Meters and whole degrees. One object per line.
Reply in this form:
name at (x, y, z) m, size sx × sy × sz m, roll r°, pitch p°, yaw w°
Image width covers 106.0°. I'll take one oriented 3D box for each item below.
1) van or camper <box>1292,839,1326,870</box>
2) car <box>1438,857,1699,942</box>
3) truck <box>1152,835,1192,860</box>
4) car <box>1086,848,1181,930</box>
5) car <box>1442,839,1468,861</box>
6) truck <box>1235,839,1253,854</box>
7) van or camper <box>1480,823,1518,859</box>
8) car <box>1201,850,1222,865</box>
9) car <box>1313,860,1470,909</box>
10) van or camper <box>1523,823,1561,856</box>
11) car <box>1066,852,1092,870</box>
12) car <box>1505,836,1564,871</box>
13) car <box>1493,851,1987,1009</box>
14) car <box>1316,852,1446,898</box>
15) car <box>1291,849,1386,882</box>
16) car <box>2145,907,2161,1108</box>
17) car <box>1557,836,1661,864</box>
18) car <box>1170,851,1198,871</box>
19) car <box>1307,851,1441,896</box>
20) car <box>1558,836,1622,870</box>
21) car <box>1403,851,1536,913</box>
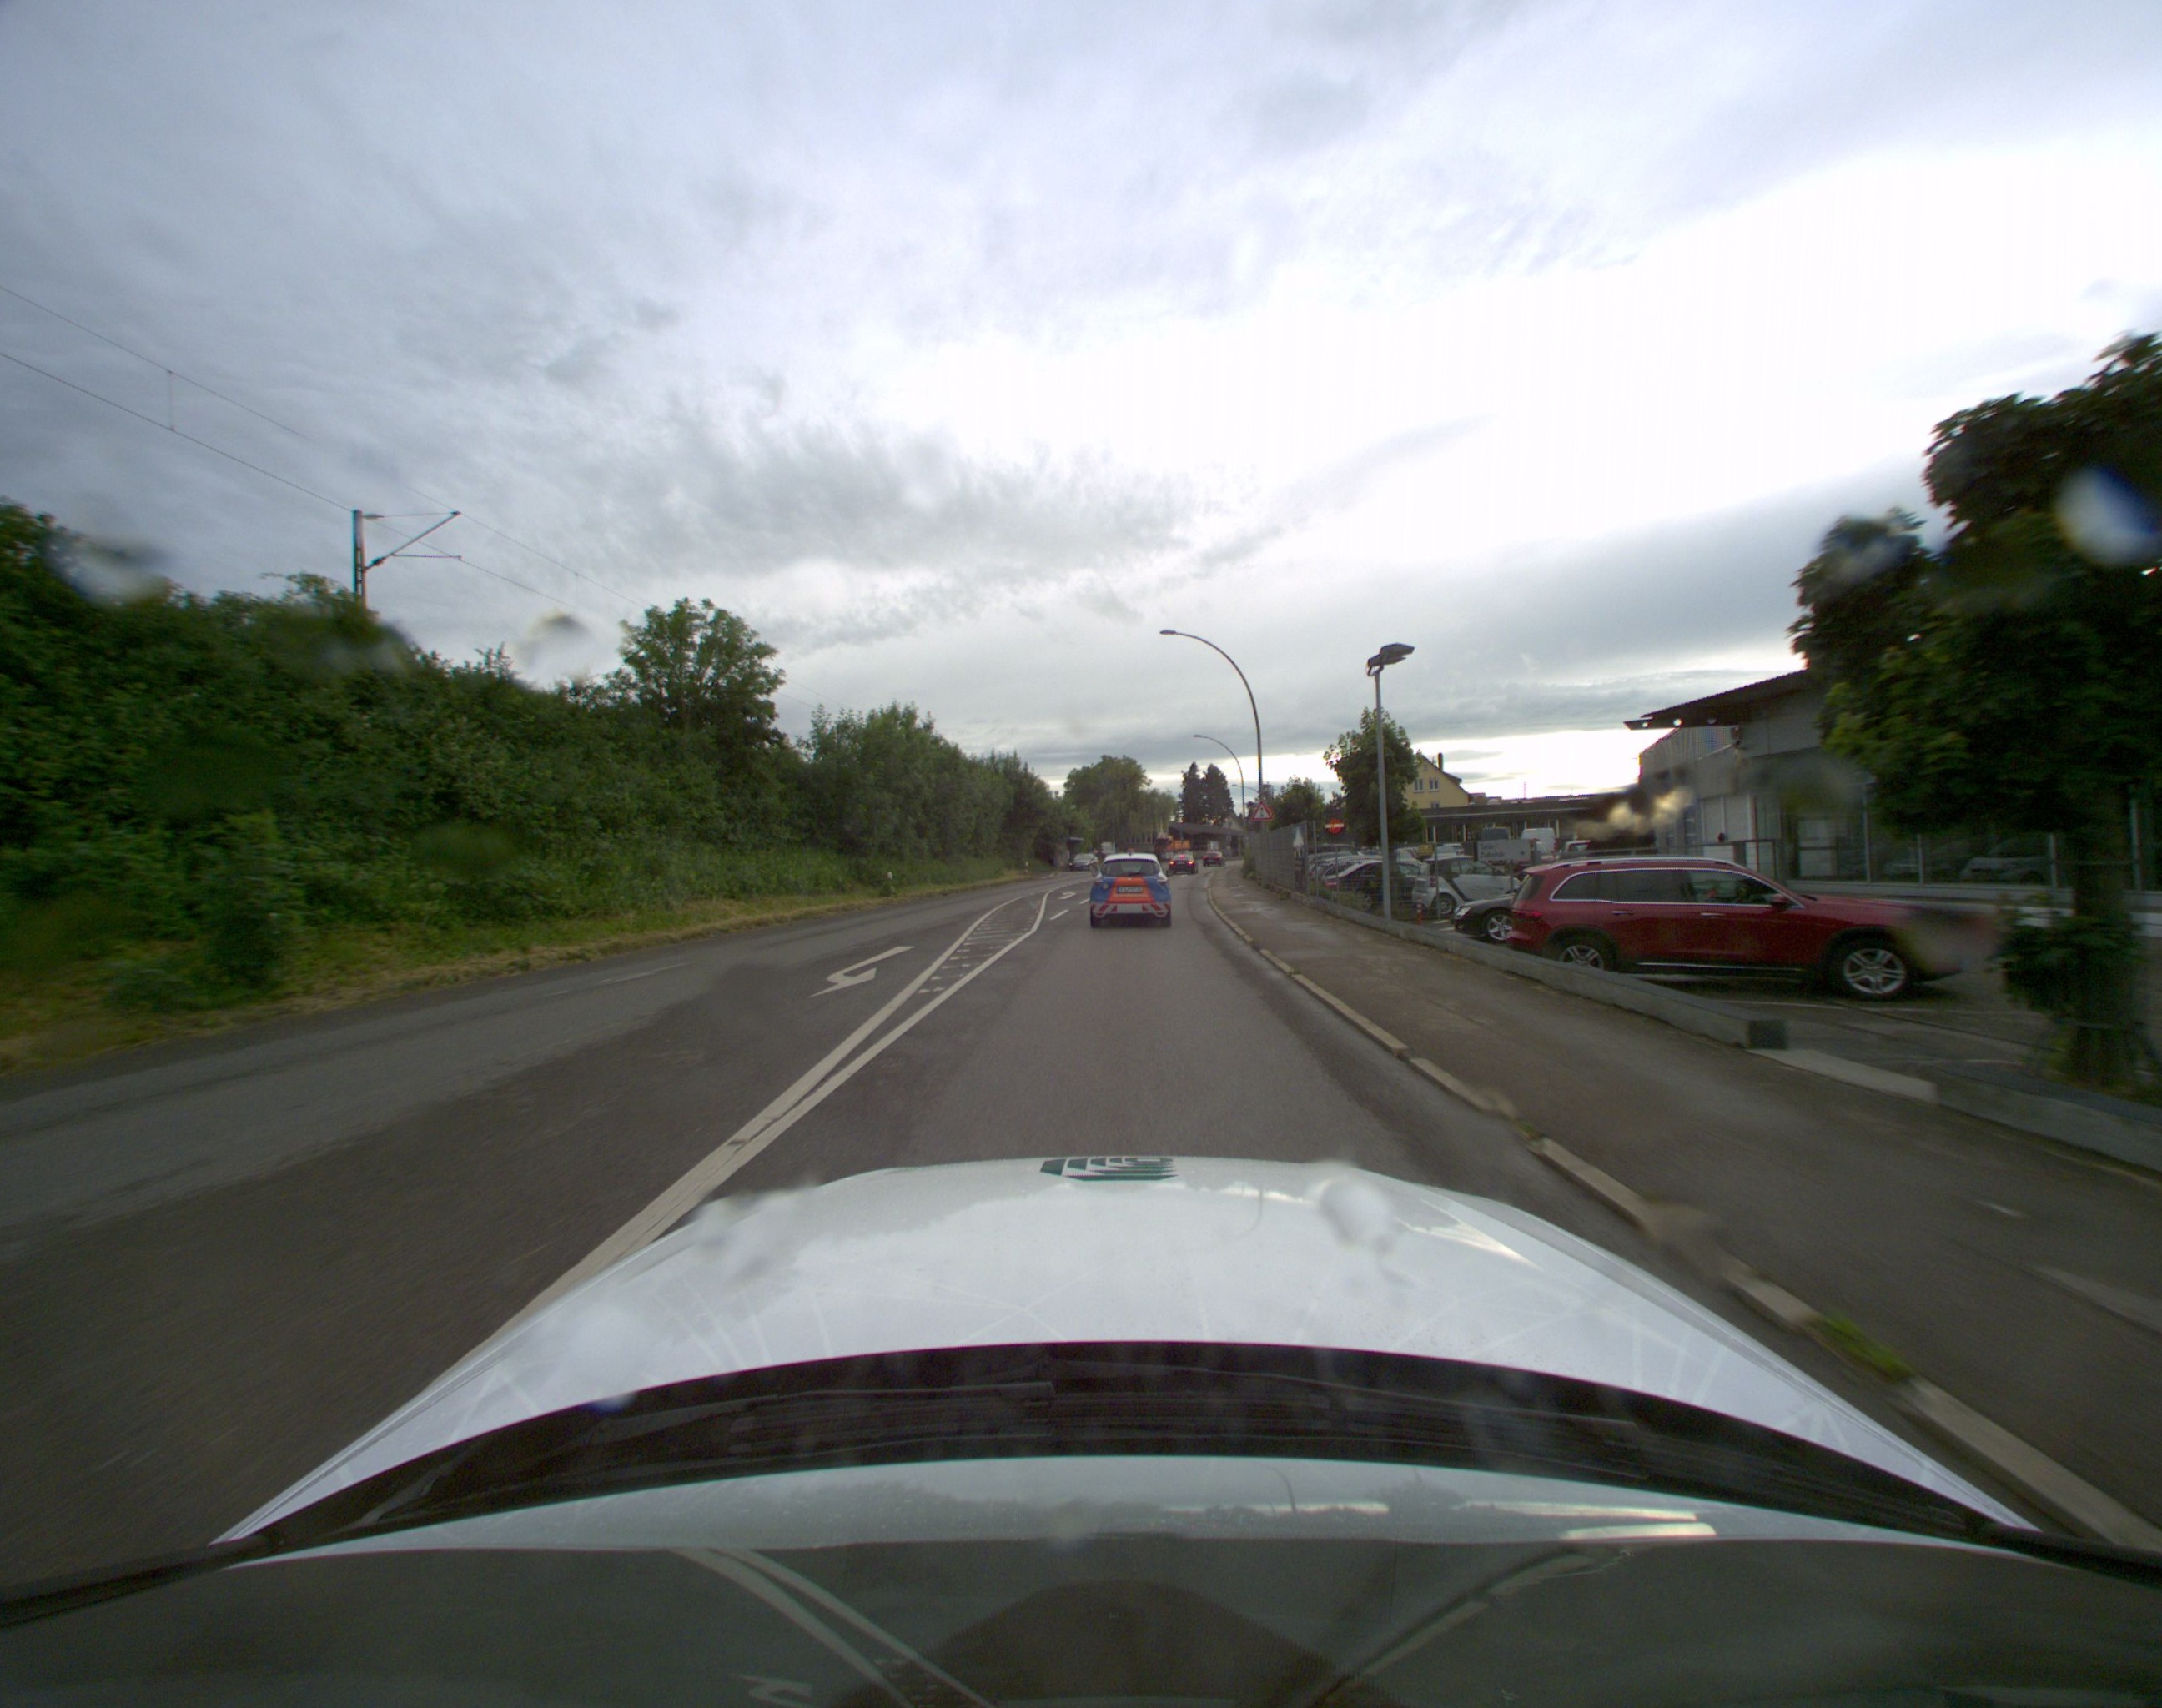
van or camper at (20.572, -0.008, 73.342) m, size 2.023 × 2.593 × 6.626 m, roll -3°, pitch 0°, yaw 23°
car at (9.316, 0.837, 15.844) m, size 4.111 × 1.441 × 1.822 m, roll -2°, pitch 0°, yaw 31°
truck at (13.344, -0.885, 118.374) m, size 2.672 × 3.412 × 9.125 m, roll 0°, pitch -1°, yaw 27°
car at (1.199, 0.707, 18.506) m, size 1.880 × 1.632 × 4.004 m, roll -2°, pitch 0°, yaw 4°
car at (28.782, -0.337, 62.719) m, size 1.623 × 1.571 × 3.415 m, roll -3°, pitch 0°, yaw 23°
truck at (33.832, -1.545, 168.681) m, size 2.373 × 2.927 × 5.990 m, roll 0°, pitch 0°, yaw 24°
van or camper at (31.947, -1.015, 62.411) m, size 2.311 × 2.557 × 5.774 m, roll -3°, pitch 0°, yaw 25°
car at (12.949, 0.397, 80.747) m, size 1.981 × 1.420 × 4.011 m, roll 0°, pitch -1°, yaw 10°
car at (9.308, 0.908, 24.726) m, size 4.088 × 1.370 × 2.003 m, roll 0°, pitch -1°, yaw 5°
van or camper at (30.464, -0.902, 53.950) m, size 1.975 × 1.938 × 5.463 m, roll 0°, pitch -1°, yaw 27°
car at (-0.127, 0.657, 70.052) m, size 1.985 × 1.474 × 4.704 m, roll 0°, pitch -1°, yaw 3°
car at (19.511, 0.003, 35.186) m, size 1.975 × 1.420 × 4.022 m, roll 0°, pitch -1°, yaw 25°
car at (8.043, 0.823, 10.621) m, size 4.638 × 1.662 × 2.012 m, roll 0°, pitch -1°, yaw 30°
car at (10.783, 0.748, 29.541) m, size 4.149 × 1.598 × 1.973 m, roll 0°, pitch -1°, yaw 8°
car at (11.504, 0.504, 36.650) m, size 3.959 × 1.404 × 1.796 m, roll 0°, pitch -1°, yaw 14°
car at (8.372, 0.913, 3.525) m, size 4.181 × 1.301 × 1.745 m, roll -2°, pitch -3°, yaw 31°
car at (28.352, -0.187, 43.891) m, size 4.591 × 1.400 × 1.730 m, roll 0°, pitch -1°, yaw 29°
car at (7.318, 0.532, 57.446) m, size 1.710 × 1.376 × 3.945 m, roll 0°, pitch -1°, yaw 11°
car at (9.741, 0.652, 27.274) m, size 3.970 × 1.408 × 1.594 m, roll 0°, pitch -1°, yaw 2°
car at (22.638, -0.021, 36.359) m, size 1.975 × 1.420 × 4.022 m, roll 0°, pitch -1°, yaw 25°
car at (10.536, 0.758, 22.265) m, size 2.705 × 1.445 × 2.003 m, roll -4°, pitch -2°, yaw 6°
